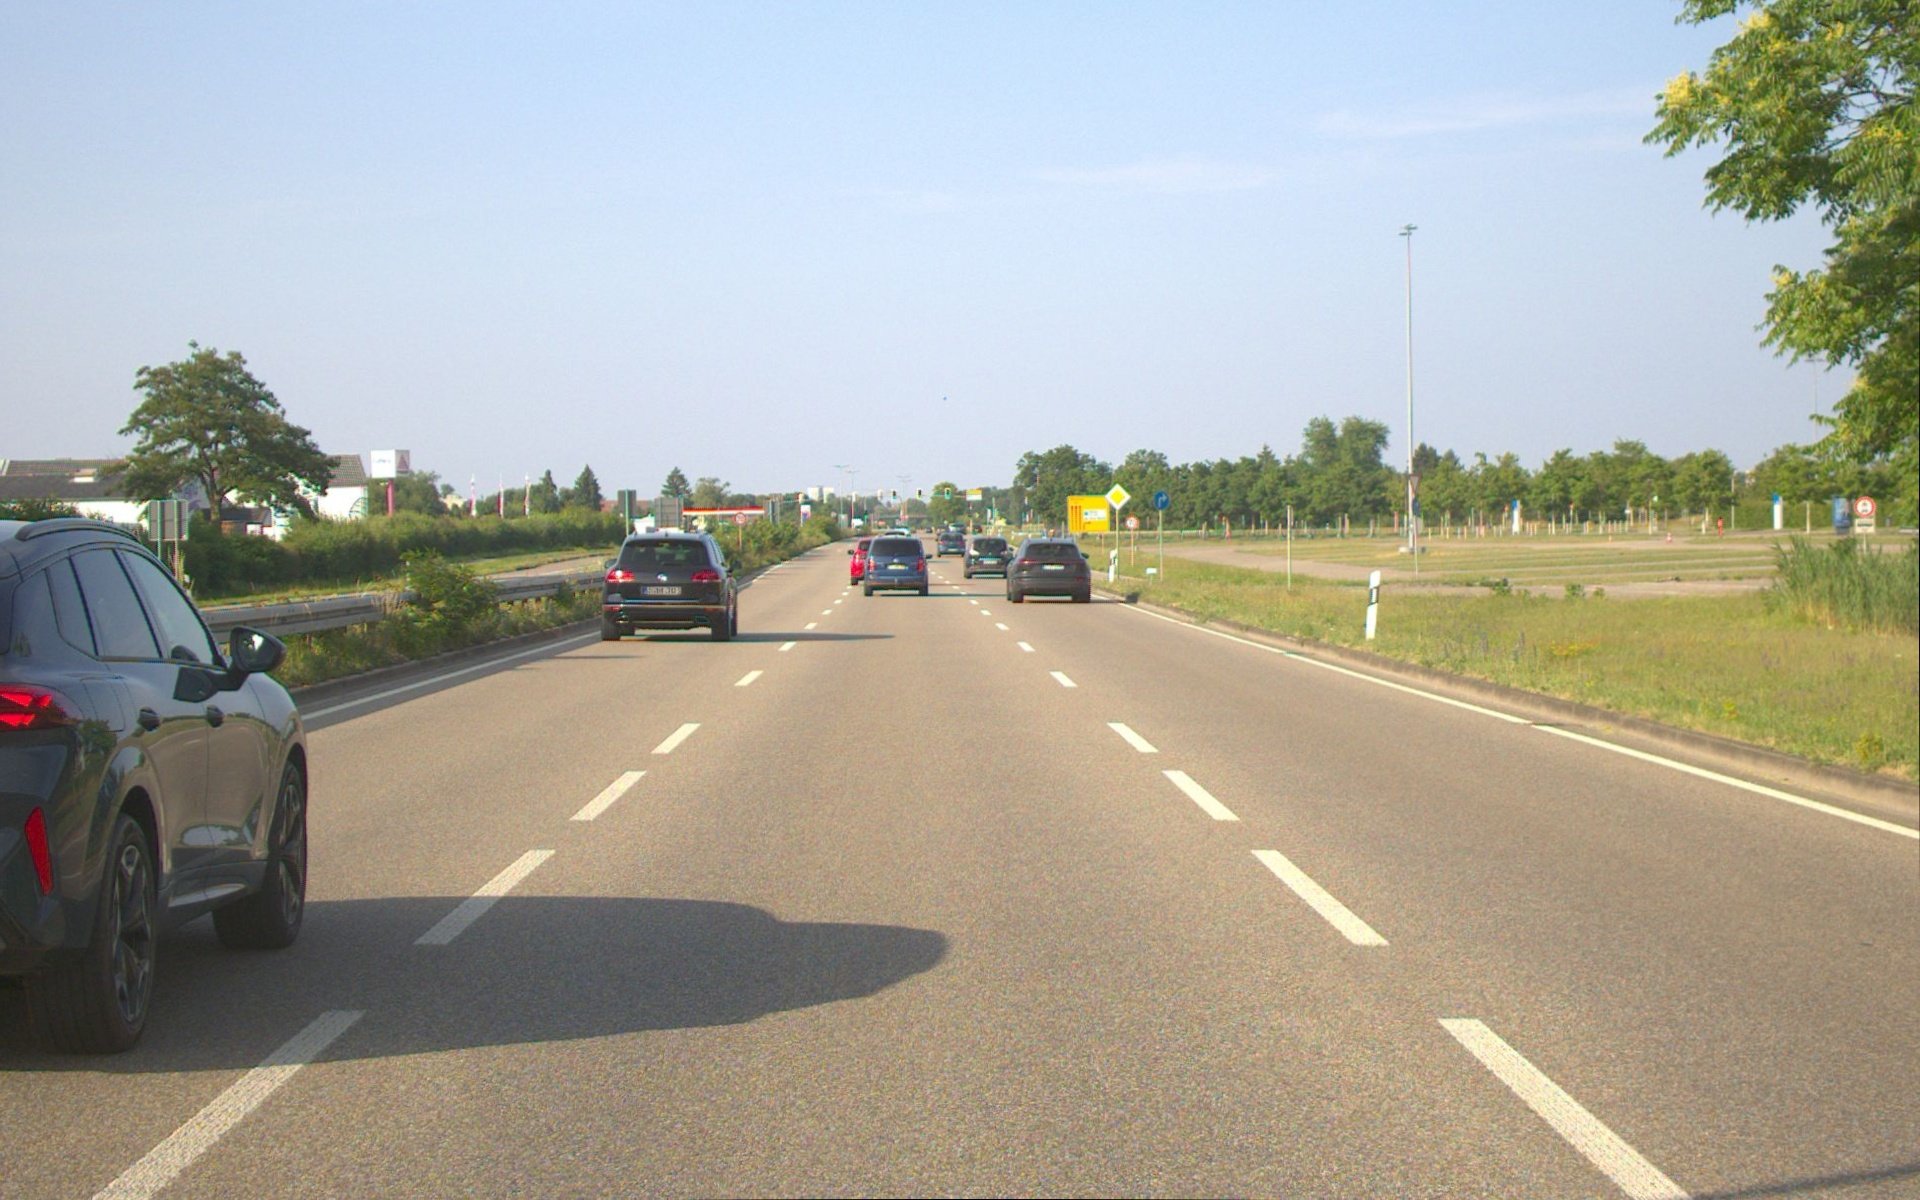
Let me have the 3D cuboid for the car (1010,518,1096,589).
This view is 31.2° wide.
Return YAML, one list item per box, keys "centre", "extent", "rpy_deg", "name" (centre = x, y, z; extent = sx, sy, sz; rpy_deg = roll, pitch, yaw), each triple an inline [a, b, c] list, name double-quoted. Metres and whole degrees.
- centre: [2.309, -1.199, 86.457]
  extent: [1.932, 1.674, 4.401]
  rpy_deg: [2, 1, -1]
  name: "car"

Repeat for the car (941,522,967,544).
- centre: [-0.358, -4.024, 206.036]
  extent: [1.503, 1.309, 3.156]
  rpy_deg: [2, 1, -1]
  name: "car"

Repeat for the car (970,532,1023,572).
- centre: [1.390, -1.862, 132.351]
  extent: [1.873, 1.458, 3.981]
  rpy_deg: [2, 1, -1]
  name: "car"

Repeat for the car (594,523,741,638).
- centre: [-4.543, -0.345, 53.941]
  extent: [1.932, 1.674, 4.401]
  rpy_deg: [2, 1, -1]
  name: "car"

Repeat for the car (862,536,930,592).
- centre: [-1.765, -1.018, 95.795]
  extent: [1.812, 1.458, 4.401]
  rpy_deg: [2, 1, -1]
  name: "car"

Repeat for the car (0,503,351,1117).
- centre: [-3.306, 0.488, 11.281]
  extent: [1.845, 1.606, 4.401]
  rpy_deg: [2, 1, -1]
  name: "car"

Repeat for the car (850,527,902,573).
- centre: [-2.788, -1.699, 115.191]
  extent: [1.647, 1.458, 3.981]
  rpy_deg: [2, 1, -1]
  name: "car"
